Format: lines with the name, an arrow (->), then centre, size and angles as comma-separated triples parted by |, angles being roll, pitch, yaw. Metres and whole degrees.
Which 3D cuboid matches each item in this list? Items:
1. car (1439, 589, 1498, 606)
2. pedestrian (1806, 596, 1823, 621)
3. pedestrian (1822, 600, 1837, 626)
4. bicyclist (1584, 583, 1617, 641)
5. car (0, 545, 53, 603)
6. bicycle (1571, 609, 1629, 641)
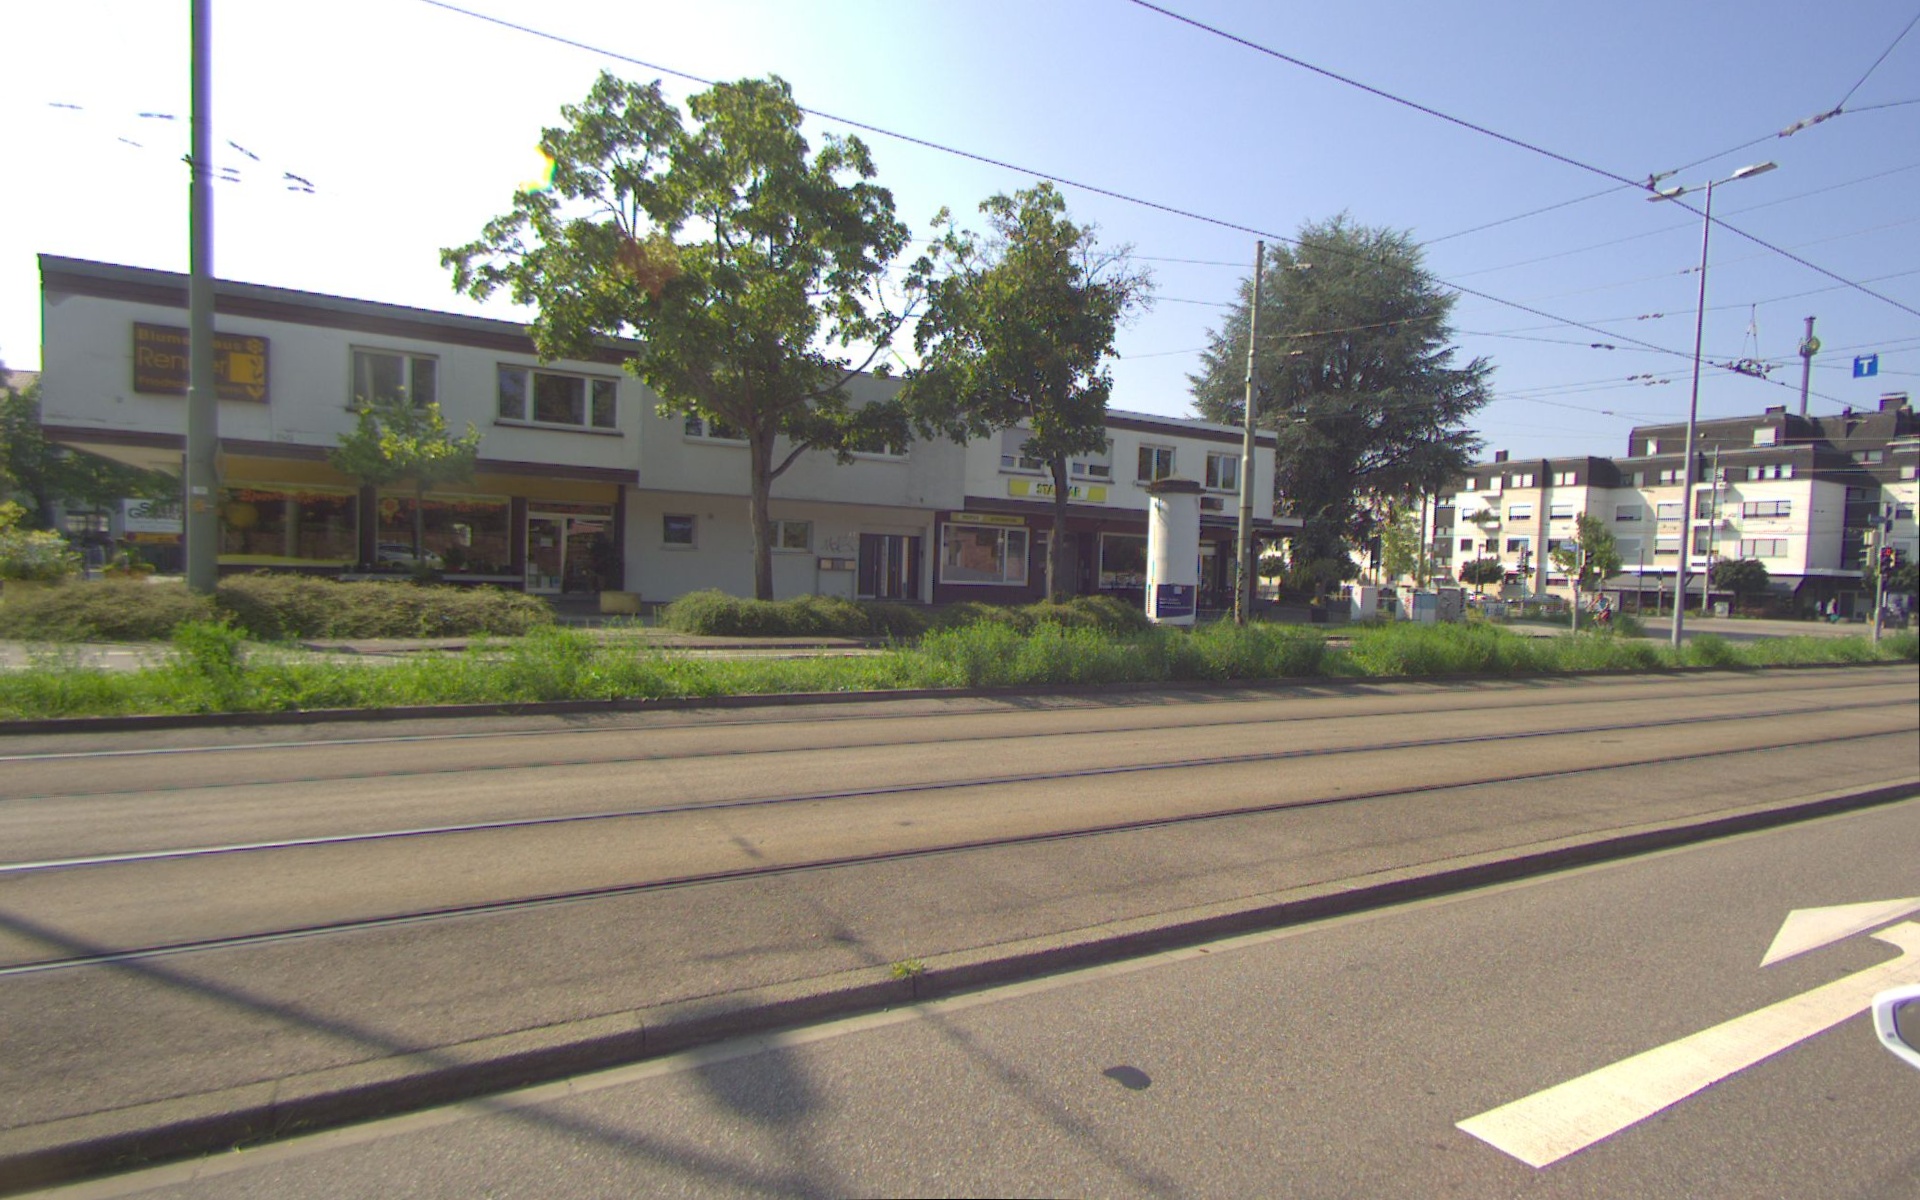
car -> 42.317, -0.208, 83.685 | 1.653, 1.317, 4.089 | 1, 0, -30
pedestrian -> 61.197, 0.618, 71.965 | 0.689, 1.764, 0.676 | 1, 1, -29
pedestrian -> 59.168, 0.868, 68.367 | 0.589, 1.768, 0.565 | 2, 1, 27
bicyclist -> 23.245, 0.436, 36.452 | 0.764, 2.092, 0.635 | 1, 1, -26
car -> -24.667, -0.707, 25.538 | 1.595, 1.361, 3.892 | 1, 2, -30
bicycle -> 23.238, 0.918, 36.475 | 2.236, 1.106, 0.712 | 1, 0, -27
